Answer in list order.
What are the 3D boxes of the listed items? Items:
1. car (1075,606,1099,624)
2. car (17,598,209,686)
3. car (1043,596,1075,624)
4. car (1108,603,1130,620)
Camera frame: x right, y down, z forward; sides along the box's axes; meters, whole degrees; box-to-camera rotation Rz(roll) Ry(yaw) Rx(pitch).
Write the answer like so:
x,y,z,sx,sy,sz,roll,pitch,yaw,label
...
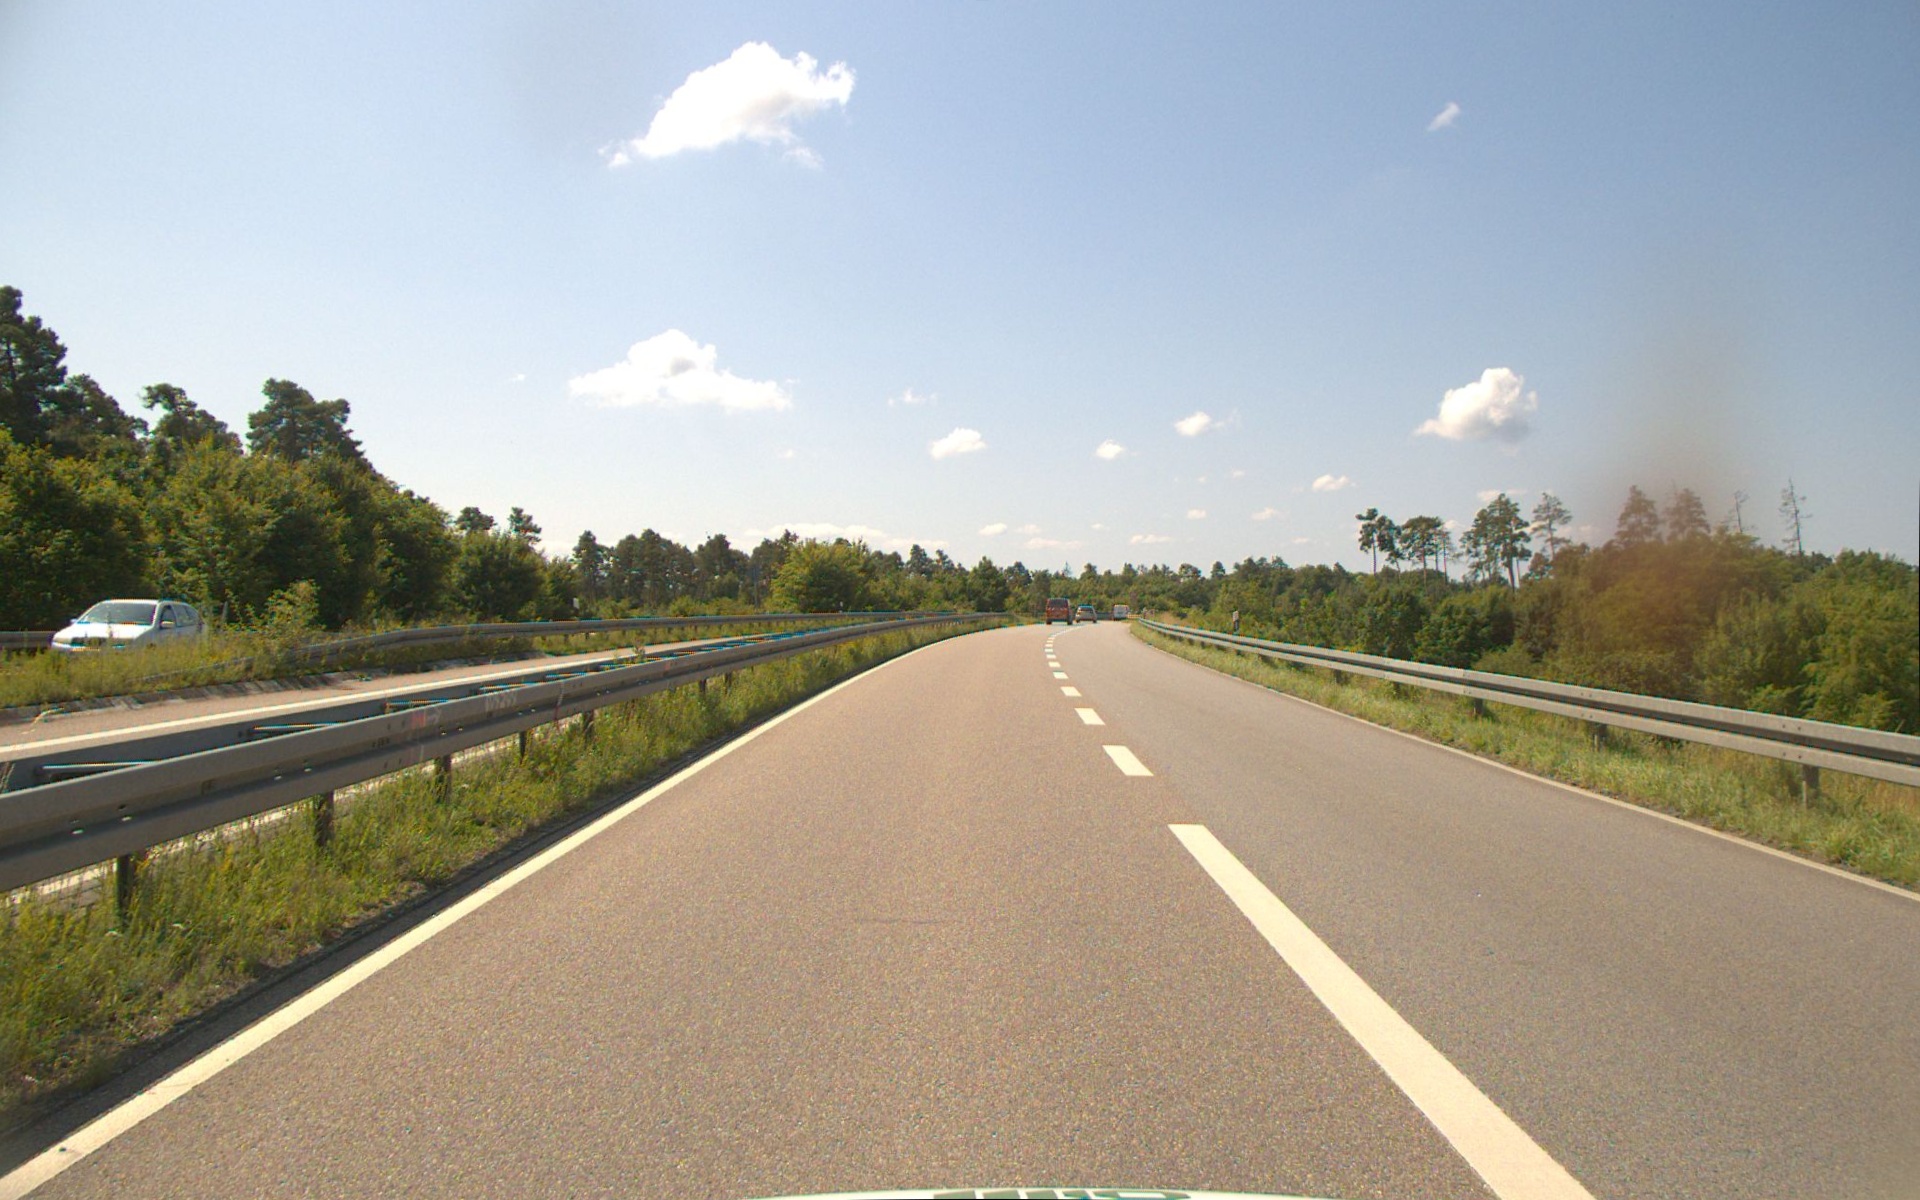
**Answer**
x,y,z,sx,sy,sz,roll,pitch,yaw,label
11.339,1.363,147.409,1.964,1.520,4.241,1,-1,7,car
-15.364,0.713,30.256,1.646,1.453,4.207,1,0,-5,car
7.570,0.793,125.920,2.033,2.028,5.115,1,-1,7,car
19.207,1.408,199.729,2.138,1.989,5.808,1,-1,11,car
